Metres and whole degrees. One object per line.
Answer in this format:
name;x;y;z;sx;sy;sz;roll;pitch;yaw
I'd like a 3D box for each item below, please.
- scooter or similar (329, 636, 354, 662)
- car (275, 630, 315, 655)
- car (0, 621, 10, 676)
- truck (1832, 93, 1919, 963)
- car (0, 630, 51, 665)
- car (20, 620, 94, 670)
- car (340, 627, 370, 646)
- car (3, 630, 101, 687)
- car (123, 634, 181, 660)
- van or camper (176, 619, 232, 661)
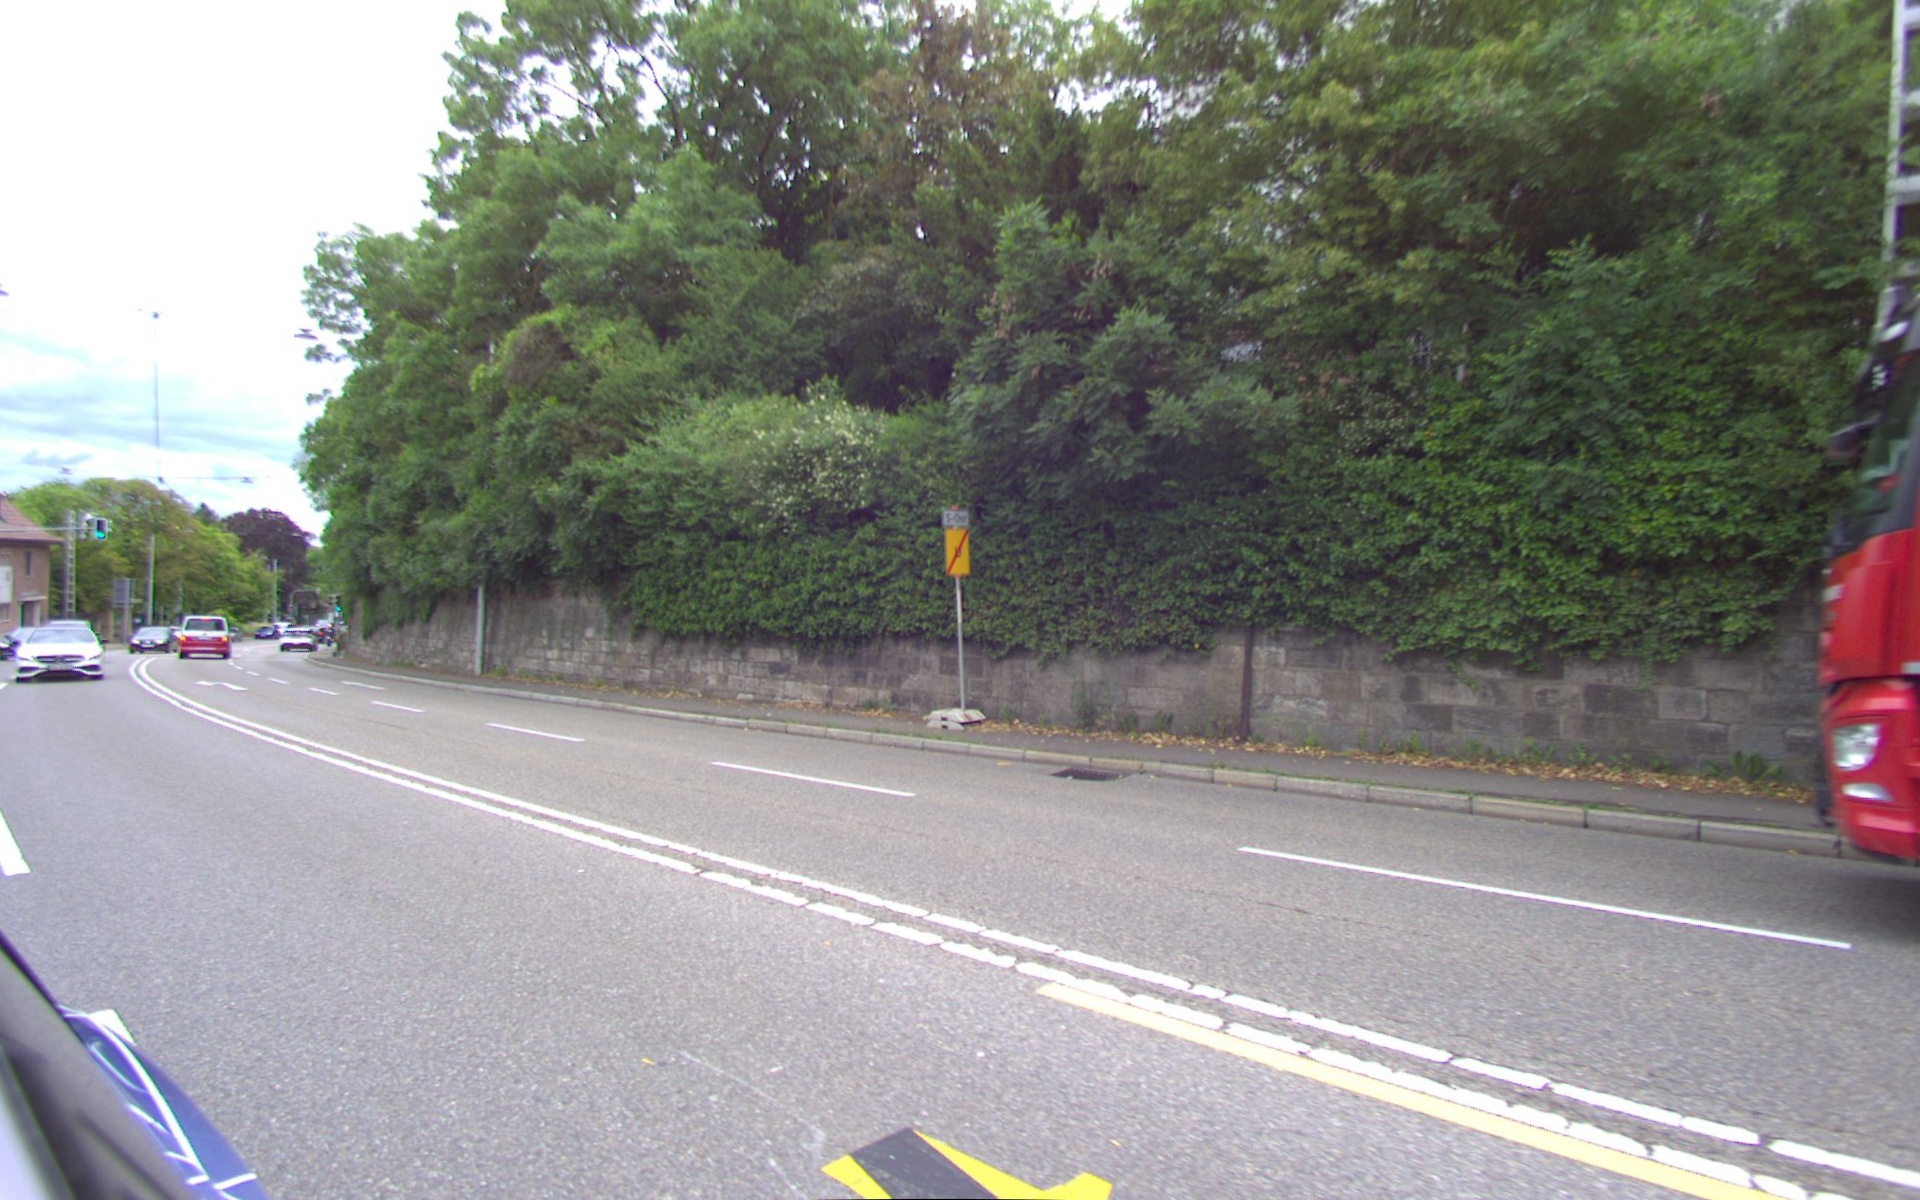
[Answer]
scooter or similar;-32.159;2.527;52.601;0.430;1.246;1.093;-3;0;13
car;-43.428;2.765;66.146;1.757;1.478;4.113;4;-4;-28
car;-31.296;1.503;31.384;1.926;1.785;4.011;2;-3;-33
truck;8.699;-0.351;2.372;9.909;3.726;2.915;-1;-4;40
car;-40.882;2.014;43.655;1.967;1.415;4.010;1;-2;-35
car;-33.830;1.683;38.009;1.929;1.753;4.006;3;-3;-41
car;-59.550;3.614;99.632;1.719;1.860;4.262;1;-2;-21
car;-24.114;1.506;26.990;1.775;1.401;3.533;1;-2;-40
car;-44.535;2.564;55.883;1.805;1.387;4.012;2;-3;-29
van or camper;-35.654;1.893;47.844;1.864;1.892;4.777;3;-3;-35
